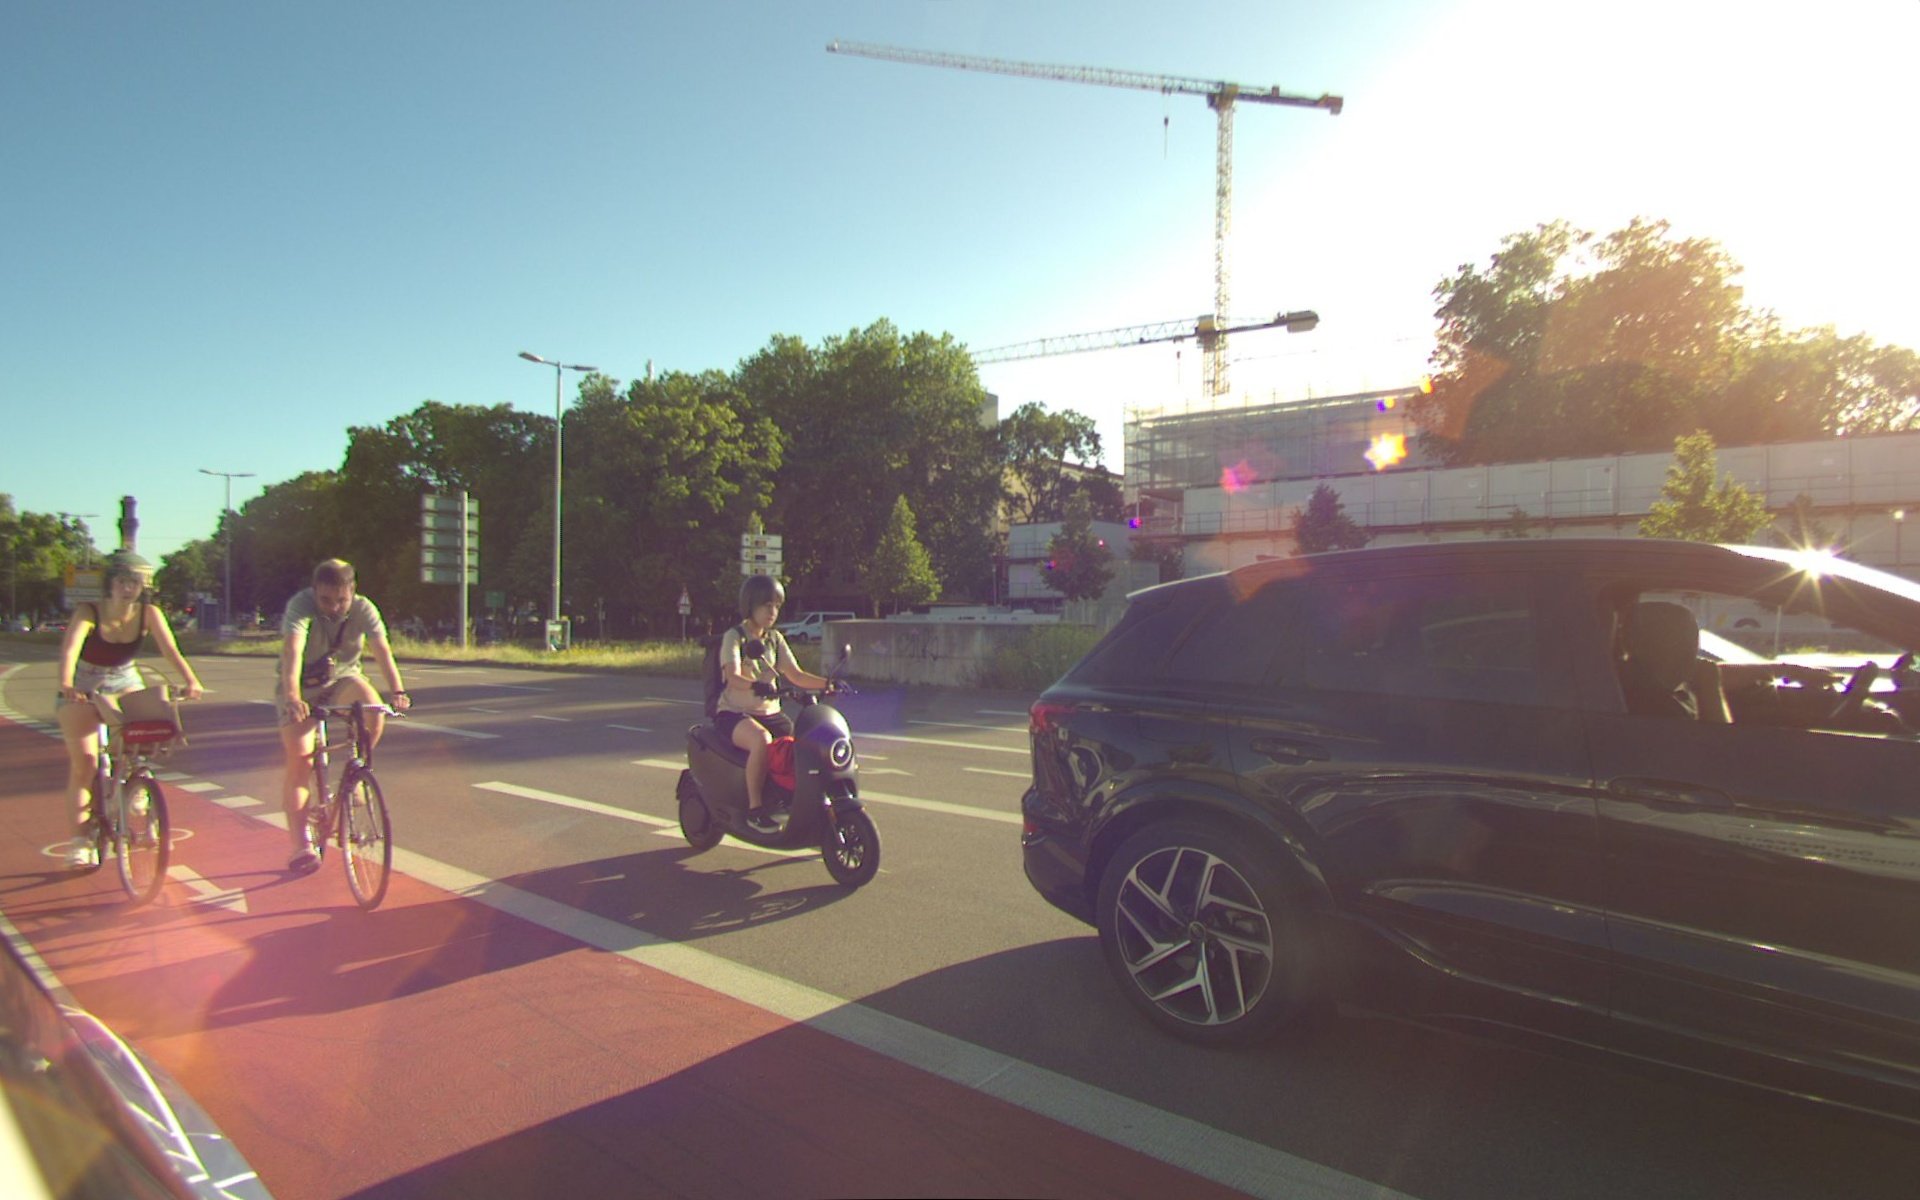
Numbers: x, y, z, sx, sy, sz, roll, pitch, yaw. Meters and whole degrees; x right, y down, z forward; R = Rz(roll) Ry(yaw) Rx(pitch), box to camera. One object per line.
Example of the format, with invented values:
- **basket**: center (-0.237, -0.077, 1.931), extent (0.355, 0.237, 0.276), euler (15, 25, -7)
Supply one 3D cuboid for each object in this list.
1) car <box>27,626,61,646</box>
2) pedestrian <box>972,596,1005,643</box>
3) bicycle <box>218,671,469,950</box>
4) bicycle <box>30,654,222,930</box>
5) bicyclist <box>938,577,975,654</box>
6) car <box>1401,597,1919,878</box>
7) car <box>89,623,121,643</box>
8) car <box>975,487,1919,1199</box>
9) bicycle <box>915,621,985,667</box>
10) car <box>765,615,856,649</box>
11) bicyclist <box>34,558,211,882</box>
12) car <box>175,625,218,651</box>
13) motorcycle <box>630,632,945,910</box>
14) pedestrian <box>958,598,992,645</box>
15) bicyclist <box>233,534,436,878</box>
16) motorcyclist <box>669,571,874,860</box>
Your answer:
- **car**: center (-82.305, 3.195, 90.924), extent (3.998, 1.699, 1.826), euler (-1, 0, 41)
- **pedestrian**: center (1.277, 0.852, 44.986), extent (1.135, 2.029, 0.930), euler (-1, 0, 35)
- **bicycle**: center (-3.296, 0.978, 5.319), extent (1.971, 1.118, 0.640), euler (-2, -1, 44)
- **bicycle**: center (-4.650, 0.942, 5.593), extent (1.832, 1.227, 0.609), euler (-2, -1, 44)
- **bicyclist**: center (-0.150, 0.639, 42.106), extent (1.305, 3.126, 0.831), euler (-1, 0, 39)
- **car**: center (4.976, 0.757, 6.543), extent (3.603, 1.497, 1.477), euler (-2, -1, 41)
- **car**: center (-79.868, 3.048, 94.528), extent (3.945, 1.802, 1.725), euler (-1, 0, 41)
- **car**: center (2.418, 0.578, 3.023), extent (4.677, 1.647, 1.753), euler (-1, 0, 40)
- **bicycle**: center (-0.455, 1.843, 42.381), extent (3.079, 1.824, 0.831), euler (-3, -1, 40)
- **car**: center (-9.060, 1.933, 61.841), extent (2.065, 1.950, 5.443), euler (-1, -2, 42)
- **bicyclist**: center (-4.570, 0.596, 5.513), extent (0.875, 1.591, 0.634), euler (-2, -1, 44)
- **car**: center (-57.452, 2.849, 76.158), extent (3.998, 1.841, 1.796), euler (-1, 0, 41)
- **motorcycle**: center (-1.031, 0.845, 5.727), extent (1.883, 1.303, 0.715), euler (-2, -1, 41)
- **pedestrian**: center (0.662, 0.935, 44.164), extent (1.135, 2.029, 0.930), euler (-1, 0, 35)
- **bicyclist**: center (-3.295, 0.503, 5.323), extent (0.842, 1.618, 0.708), euler (-2, -1, 44)
- **motorcyclist**: center (-1.077, 0.598, 5.767), extent (0.917, 1.485, 0.717), euler (-2, -1, 41)
